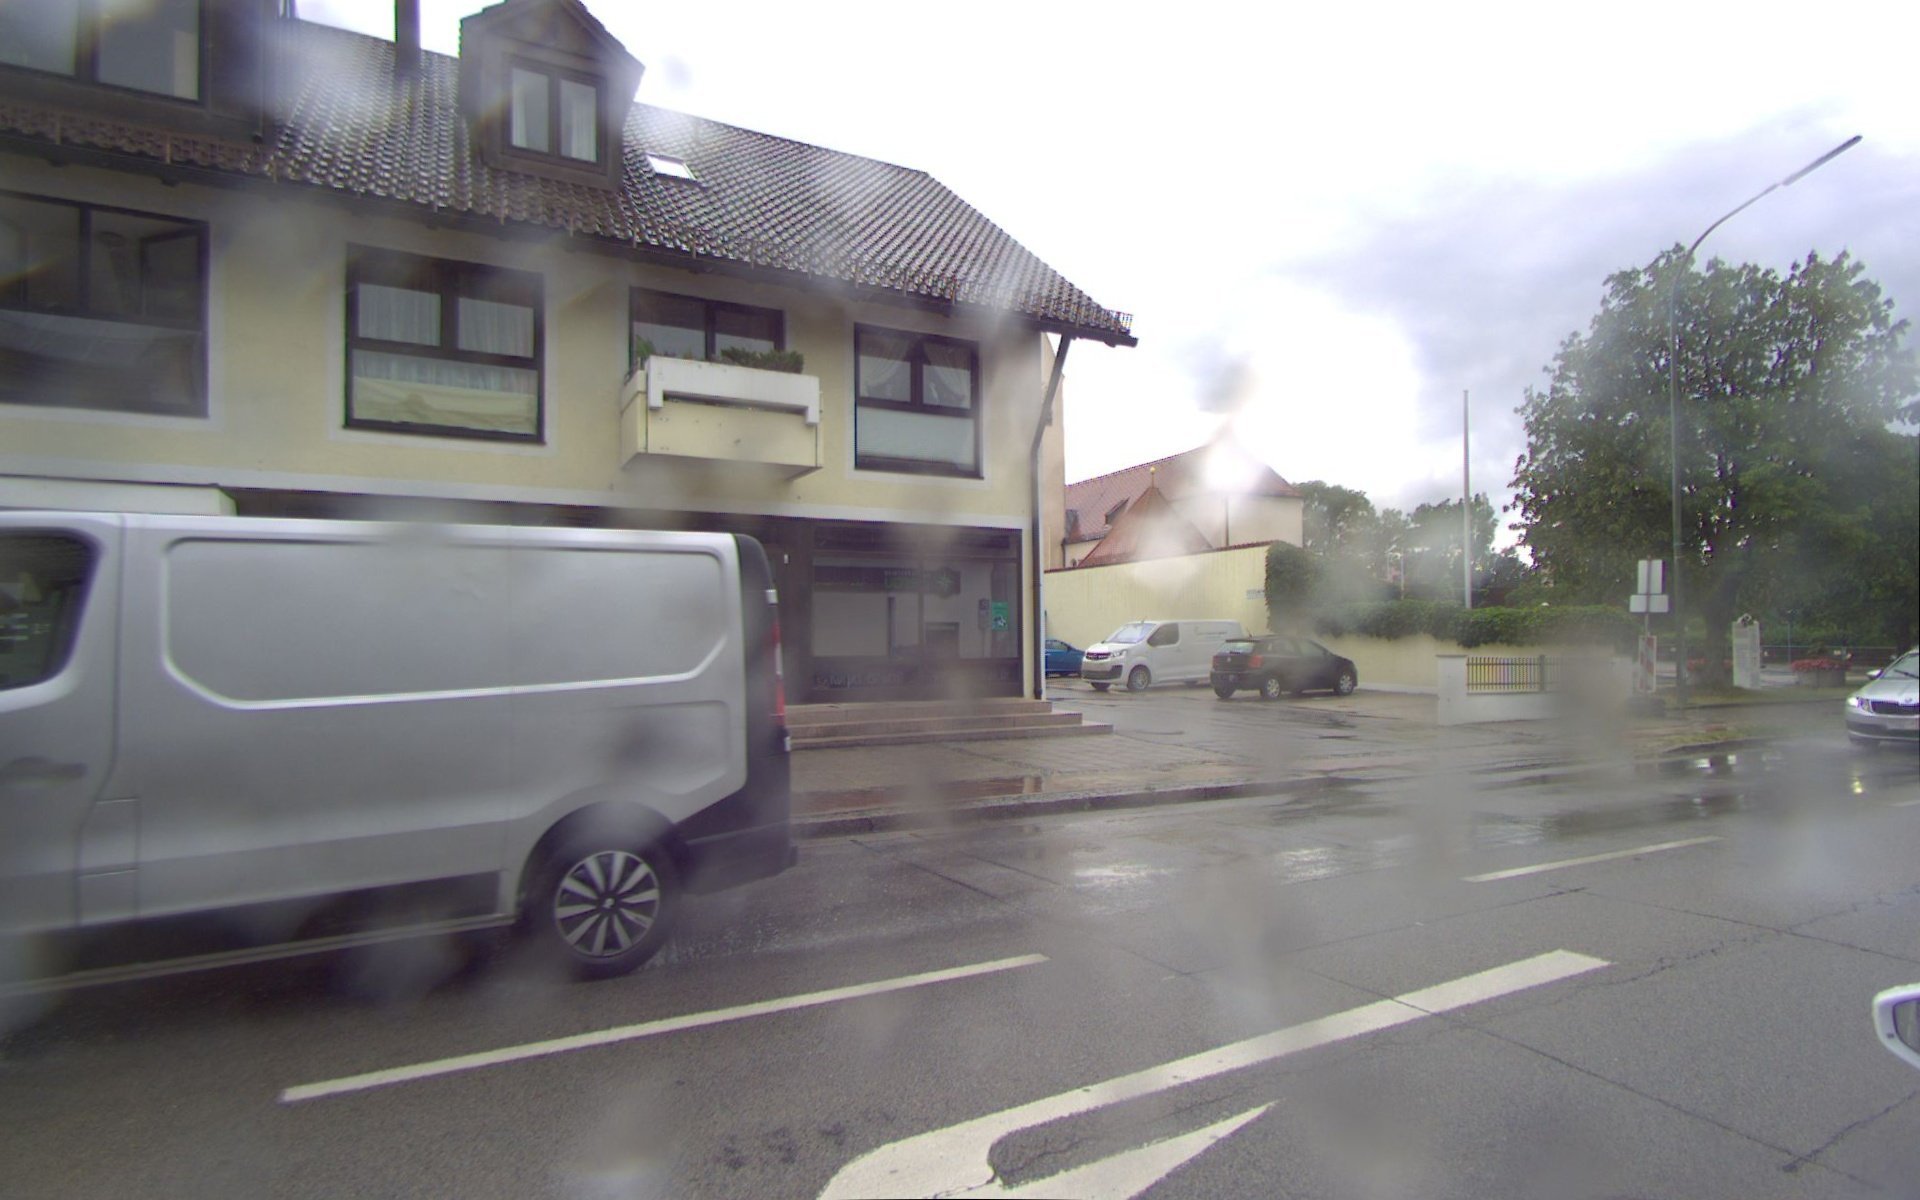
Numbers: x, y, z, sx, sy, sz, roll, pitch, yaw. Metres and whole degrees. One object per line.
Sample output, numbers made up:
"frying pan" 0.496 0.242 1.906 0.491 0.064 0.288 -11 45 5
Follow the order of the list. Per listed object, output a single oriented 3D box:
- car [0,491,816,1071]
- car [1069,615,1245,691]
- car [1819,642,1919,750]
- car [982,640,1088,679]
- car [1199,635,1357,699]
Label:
"car" -3.376 0.653 4.267 5.193 1.916 1.809 1 -4 -29
"car" 5.475 1.449 27.786 4.681 1.944 1.956 1 -4 -30
"car" 14.212 1.298 14.182 4.132 1.393 1.771 1 -4 -28
"car" 2.538 2.010 34.045 3.289 1.264 1.514 1 -3 -24
"car" 7.468 1.551 23.554 3.467 1.398 1.600 1 -3 -30
